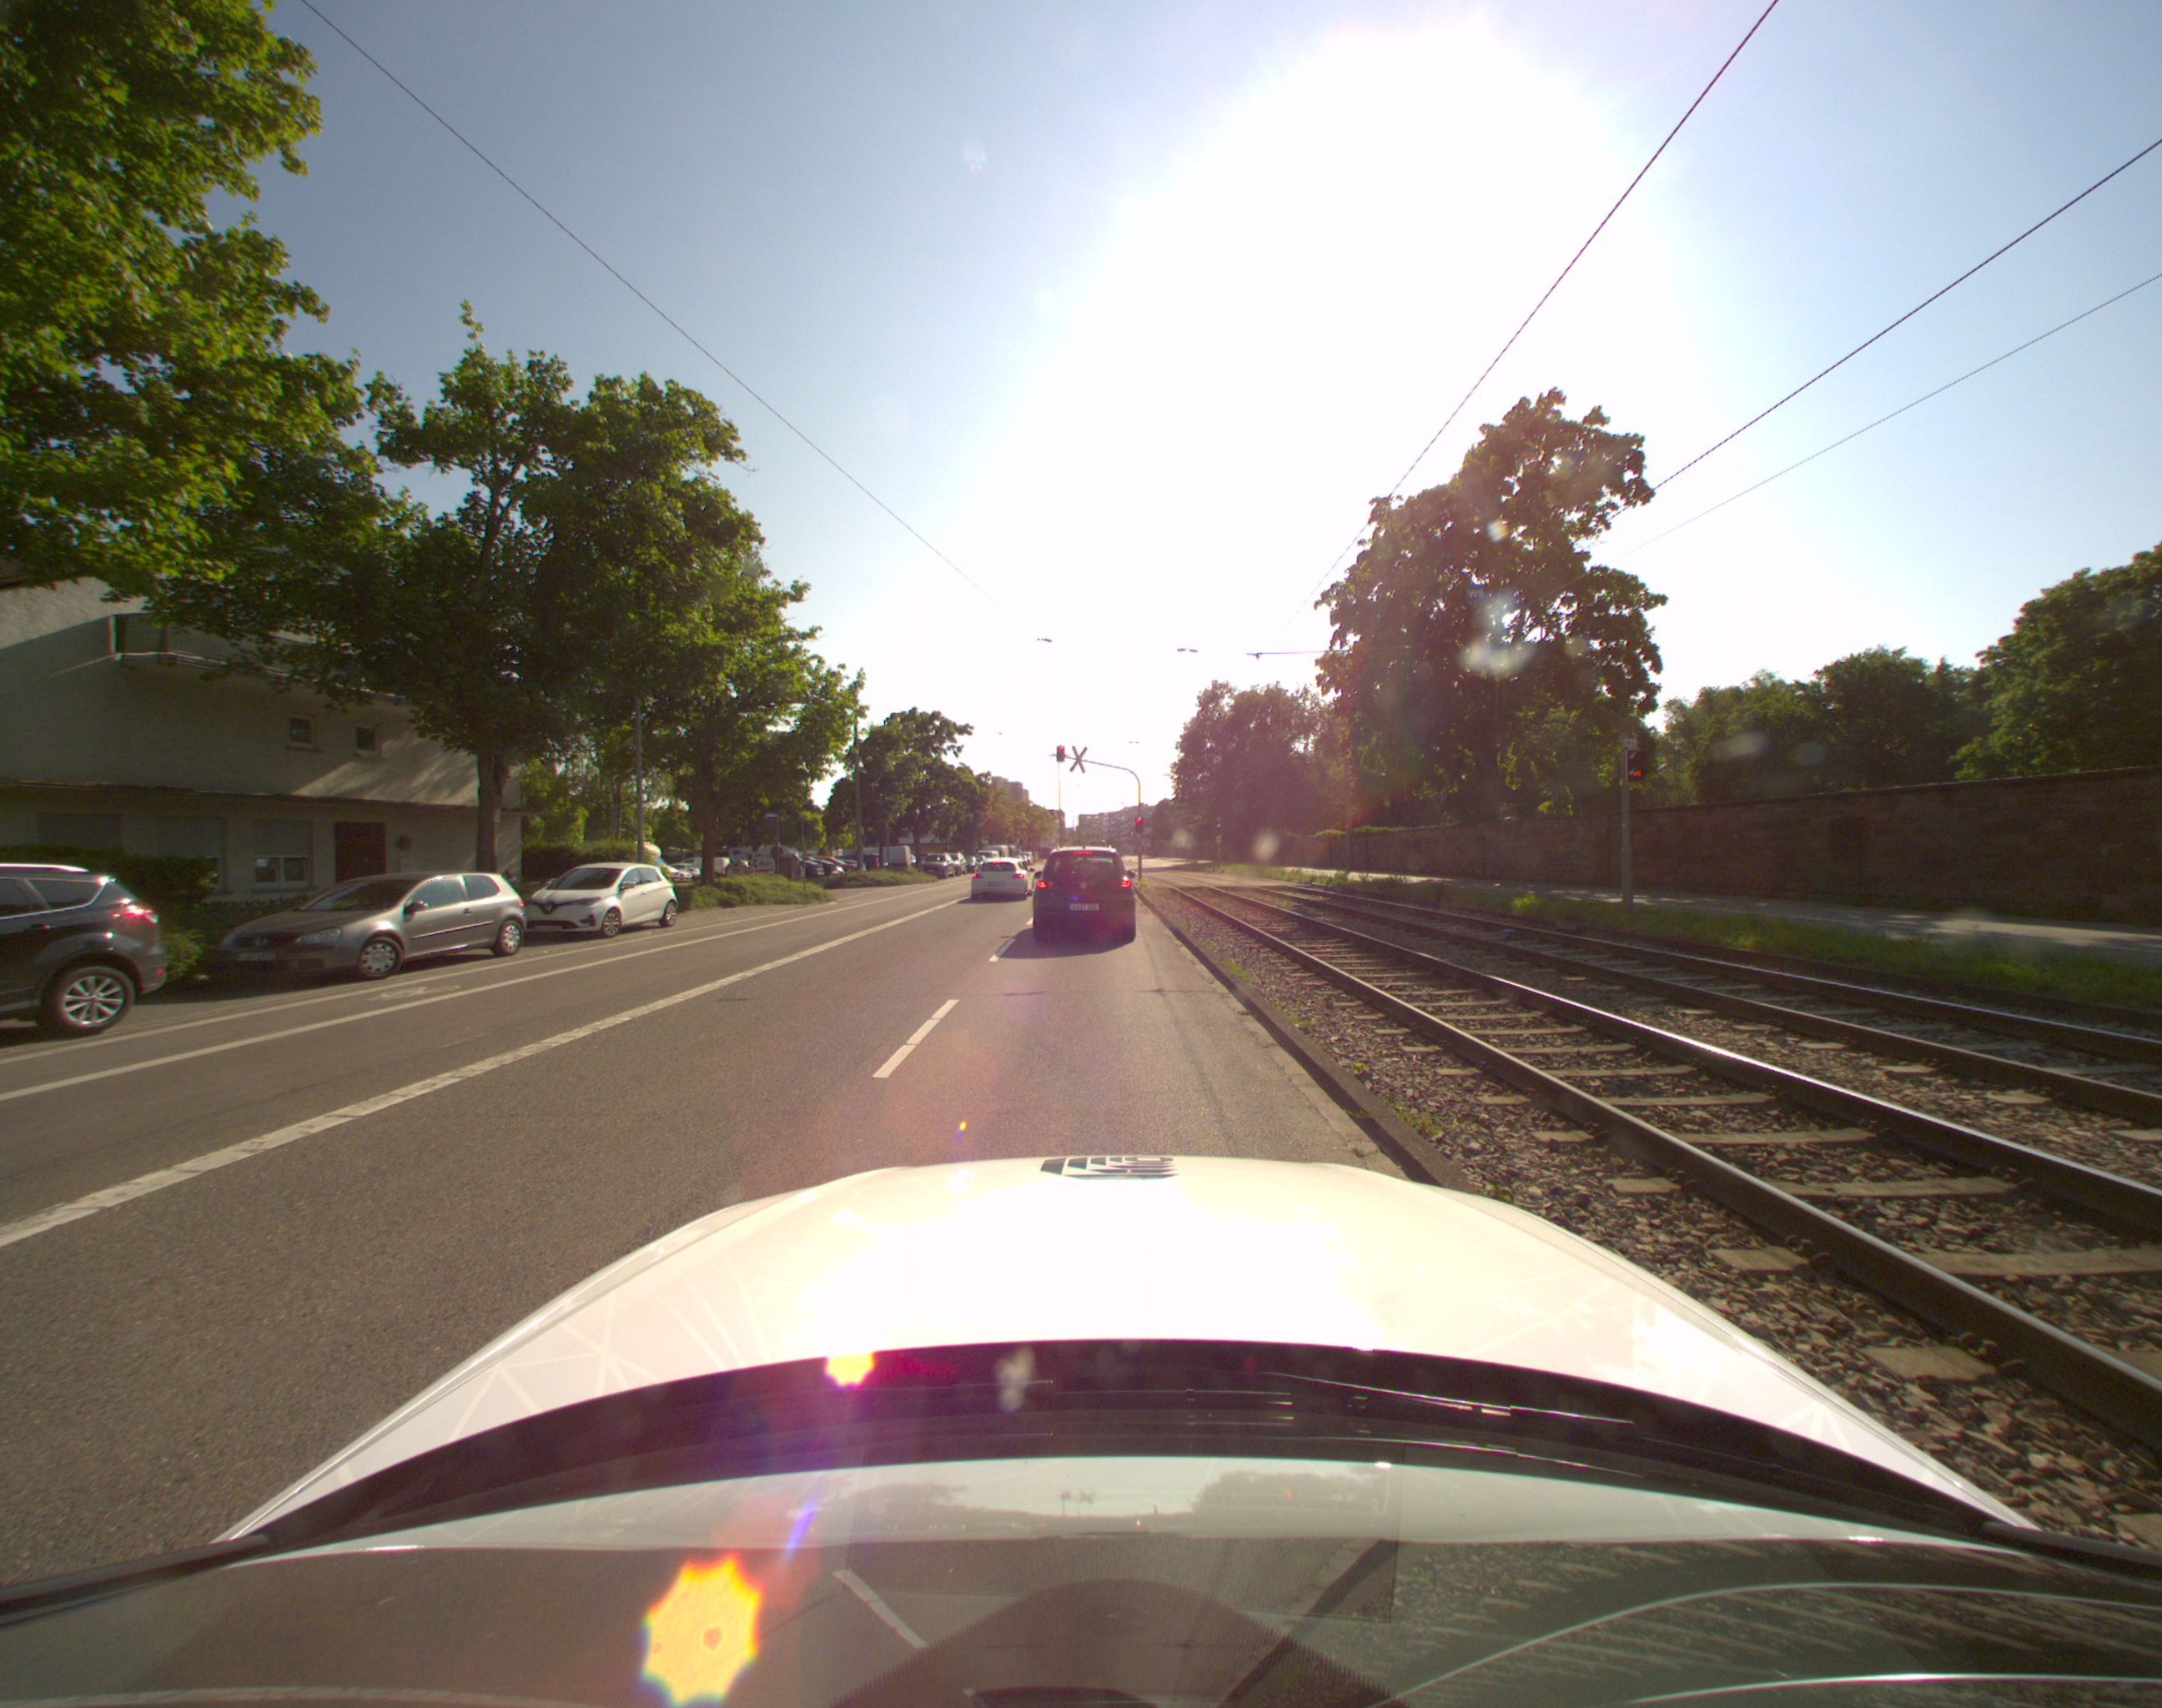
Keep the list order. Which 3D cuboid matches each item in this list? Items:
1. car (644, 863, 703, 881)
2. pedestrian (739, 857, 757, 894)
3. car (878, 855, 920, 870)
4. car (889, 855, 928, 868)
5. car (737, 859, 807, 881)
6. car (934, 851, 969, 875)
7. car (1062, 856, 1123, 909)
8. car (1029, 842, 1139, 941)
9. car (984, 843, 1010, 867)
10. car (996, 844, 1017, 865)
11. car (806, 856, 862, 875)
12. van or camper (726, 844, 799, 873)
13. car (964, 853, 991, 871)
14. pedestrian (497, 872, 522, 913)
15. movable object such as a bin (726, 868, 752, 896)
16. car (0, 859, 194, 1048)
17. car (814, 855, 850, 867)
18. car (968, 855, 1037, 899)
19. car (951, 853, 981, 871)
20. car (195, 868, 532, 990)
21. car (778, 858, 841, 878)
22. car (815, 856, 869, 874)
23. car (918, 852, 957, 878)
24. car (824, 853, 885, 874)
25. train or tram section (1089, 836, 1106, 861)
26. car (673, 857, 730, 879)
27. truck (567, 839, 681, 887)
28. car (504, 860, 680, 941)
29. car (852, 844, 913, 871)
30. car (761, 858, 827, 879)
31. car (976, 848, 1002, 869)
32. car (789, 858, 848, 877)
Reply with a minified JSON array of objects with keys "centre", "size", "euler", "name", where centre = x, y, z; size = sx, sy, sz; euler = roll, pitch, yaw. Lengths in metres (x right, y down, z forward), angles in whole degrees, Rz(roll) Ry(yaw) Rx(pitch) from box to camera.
[{"centre":[-33.090,1.441,66.172],"size":[3.966,1.361,1.630],"euler":[-1,0,6],"name":"car"},{"centre":[-15.116,0.972,36.994],"size":[0.522,1.628,0.610],"euler":[-1,0,1],"name":"pedestrian"},{"centre":[-18.762,0.831,84.054],"size":[3.977,1.397,1.736],"euler":[-1,0,-2],"name":"car"},{"centre":[-18.946,0.812,89.530],"size":[3.977,1.397,1.736],"euler":[-1,0,-2],"name":"car"},{"centre":[-20.715,1.076,54.760],"size":[3.977,1.307,1.736],"euler":[-1,0,-2],"name":"car"},{"centre":[-9.715,0.645,61.260],"size":[1.725,1.694,4.003],"euler":[-1,1,3],"name":"car"},{"centre":[0.379,0.802,24.489],"size":[1.663,1.386,4.001],"euler":[-1,0,2],"name":"car"},{"centre":[0.106,0.623,15.515],"size":[1.805,1.645,4.001],"euler":[0,0,1],"name":"car"},{"centre":[-8.773,0.110,85.319],"size":[1.856,2.347,4.989],"euler":[-1,0,3],"name":"car"},{"centre":[-8.389,0.036,92.144],"size":[1.725,2.268,4.648],"euler":[-1,0,3],"name":"car"},{"centre":[-19.759,0.923,65.253],"size":[3.977,1.397,1.736],"euler":[-1,0,-2],"name":"car"},{"centre":[-32.619,0.429,83.515],"size":[6.439,2.868,2.308],"euler":[-1,0,2],"name":"van or camper"},{"centre":[-9.320,0.710,73.328],"size":[1.725,1.450,3.738],"euler":[-1,1,3],"name":"car"},{"centre":[-17.441,1.181,24.848],"size":[0.442,1.217,0.392],"euler":[-1,0,9],"name":"pedestrian"},{"centre":[-15.145,1.228,36.061],"size":[0.540,1.146,1.261],"euler":[-1,0,2],"name":"movable object such as a bin"},{"centre":[-10.660,0.929,6.748],"size":[1.667,1.694,4.424],"euler":[-1,0,2],"name":"car"},{"centre":[-31.746,0.898,103.766],"size":[3.977,1.397,1.736],"euler":[-1,0,-2],"name":"car"},{"centre":[-2.594,0.737,27.852],"size":[1.858,1.348,4.001],"euler":[-1,0,1],"name":"car"},{"centre":[-9.466,0.658,67.442],"size":[1.725,1.389,3.738],"euler":[-1,1,3],"name":"car"},{"centre":[-10.616,1.003,12.527],"size":[1.672,1.468,3.967],"euler":[-1,0,-1],"name":"car"},{"centre":[-19.941,1.037,59.882],"size":[3.977,1.307,1.736],"euler":[-1,0,-2],"name":"car"},{"centre":[-19.957,0.914,68.225],"size":[3.977,1.397,1.736],"euler":[-1,0,-2],"name":"car"},{"centre":[-9.711,0.717,55.555],"size":[1.725,1.657,4.003],"euler":[-1,0,3],"name":"car"},{"centre":[-19.612,0.775,70.610],"size":[4.604,1.651,2.048],"euler":[-1,0,-1],"name":"car"},{"centre":[2.564,-0.816,124.507],"size":[2.318,3.570,8.903],"euler":[-1,0,2],"name":"train or tram section"},{"centre":[-31.858,1.186,68.490],"size":[3.982,1.728,1.623],"euler":[-2,0,-6],"name":"car"},{"centre":[-32.683,0.636,58.390],"size":[6.941,3.242,1.987],"euler":[-1,0,-1],"name":"truck"},{"centre":[-10.619,0.937,18.047],"size":[1.596,1.550,3.892],"euler":[1,0,-1],"name":"car"},{"centre":[-19.126,0.359,78.623],"size":[5.356,2.423,2.088],"euler":[-1,0,1],"name":"car"},{"centre":[-20.124,1.013,57.164],"size":[3.977,1.307,1.736],"euler":[-1,0,-2],"name":"car"},{"centre":[-8.873,0.408,78.642],"size":[1.725,1.860,4.493],"euler":[-1,0,3],"name":"car"},{"centre":[-20.279,1.031,63.046],"size":[3.977,1.307,1.736],"euler":[-1,0,-2],"name":"car"}]
